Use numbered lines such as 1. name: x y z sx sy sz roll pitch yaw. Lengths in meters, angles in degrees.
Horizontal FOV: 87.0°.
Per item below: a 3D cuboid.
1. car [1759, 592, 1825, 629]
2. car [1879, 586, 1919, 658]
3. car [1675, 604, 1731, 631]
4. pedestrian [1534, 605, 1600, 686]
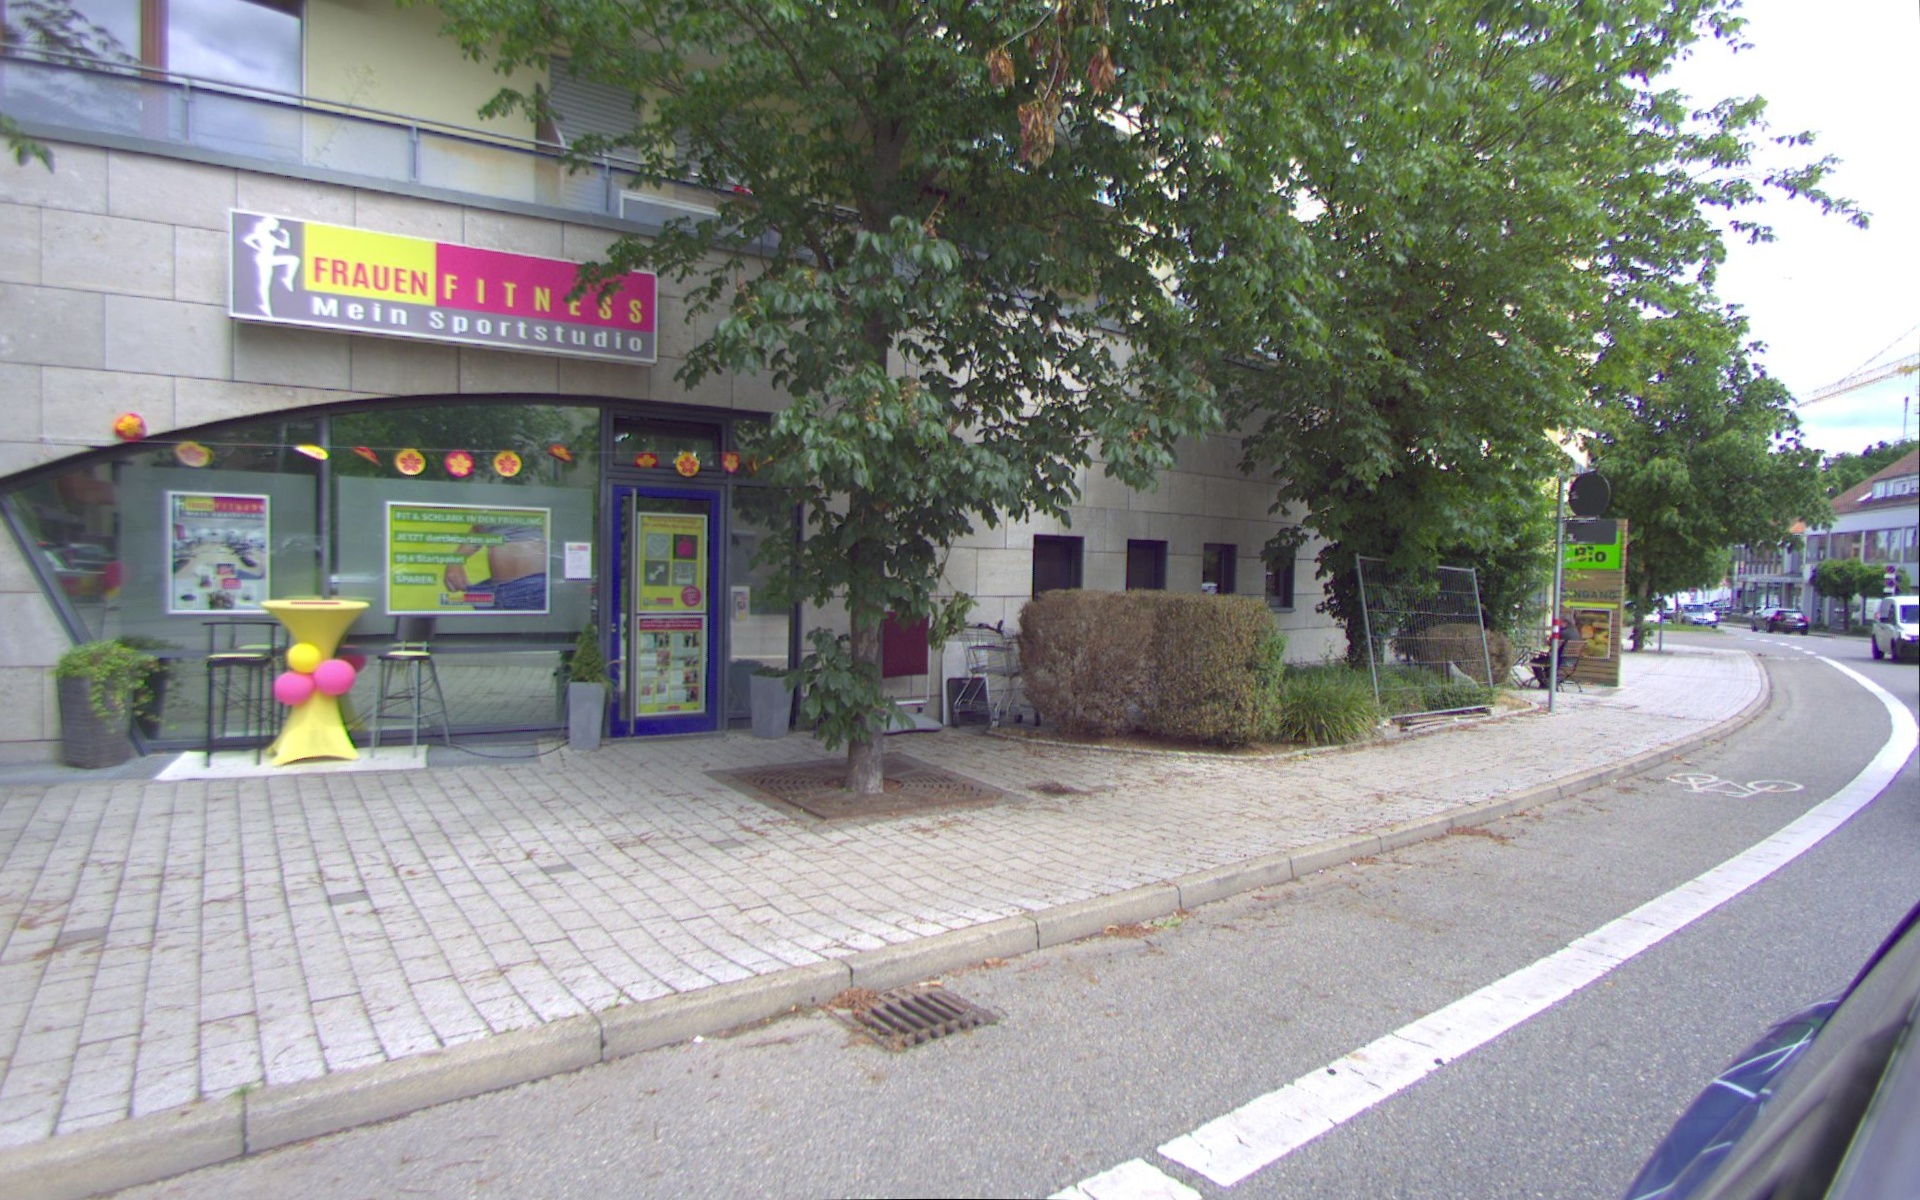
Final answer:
1. car: 46.539 0.552 56.683 1.722 1.874 3.969 2 2 23
2. car: 26.234 0.541 27.240 1.842 1.839 3.947 0 0 37
3. car: 43.875 1.005 59.862 1.674 1.505 3.971 0 0 22
4. pedestrian: 10.398 0.763 17.331 0.740 1.317 0.731 1 2 -40
